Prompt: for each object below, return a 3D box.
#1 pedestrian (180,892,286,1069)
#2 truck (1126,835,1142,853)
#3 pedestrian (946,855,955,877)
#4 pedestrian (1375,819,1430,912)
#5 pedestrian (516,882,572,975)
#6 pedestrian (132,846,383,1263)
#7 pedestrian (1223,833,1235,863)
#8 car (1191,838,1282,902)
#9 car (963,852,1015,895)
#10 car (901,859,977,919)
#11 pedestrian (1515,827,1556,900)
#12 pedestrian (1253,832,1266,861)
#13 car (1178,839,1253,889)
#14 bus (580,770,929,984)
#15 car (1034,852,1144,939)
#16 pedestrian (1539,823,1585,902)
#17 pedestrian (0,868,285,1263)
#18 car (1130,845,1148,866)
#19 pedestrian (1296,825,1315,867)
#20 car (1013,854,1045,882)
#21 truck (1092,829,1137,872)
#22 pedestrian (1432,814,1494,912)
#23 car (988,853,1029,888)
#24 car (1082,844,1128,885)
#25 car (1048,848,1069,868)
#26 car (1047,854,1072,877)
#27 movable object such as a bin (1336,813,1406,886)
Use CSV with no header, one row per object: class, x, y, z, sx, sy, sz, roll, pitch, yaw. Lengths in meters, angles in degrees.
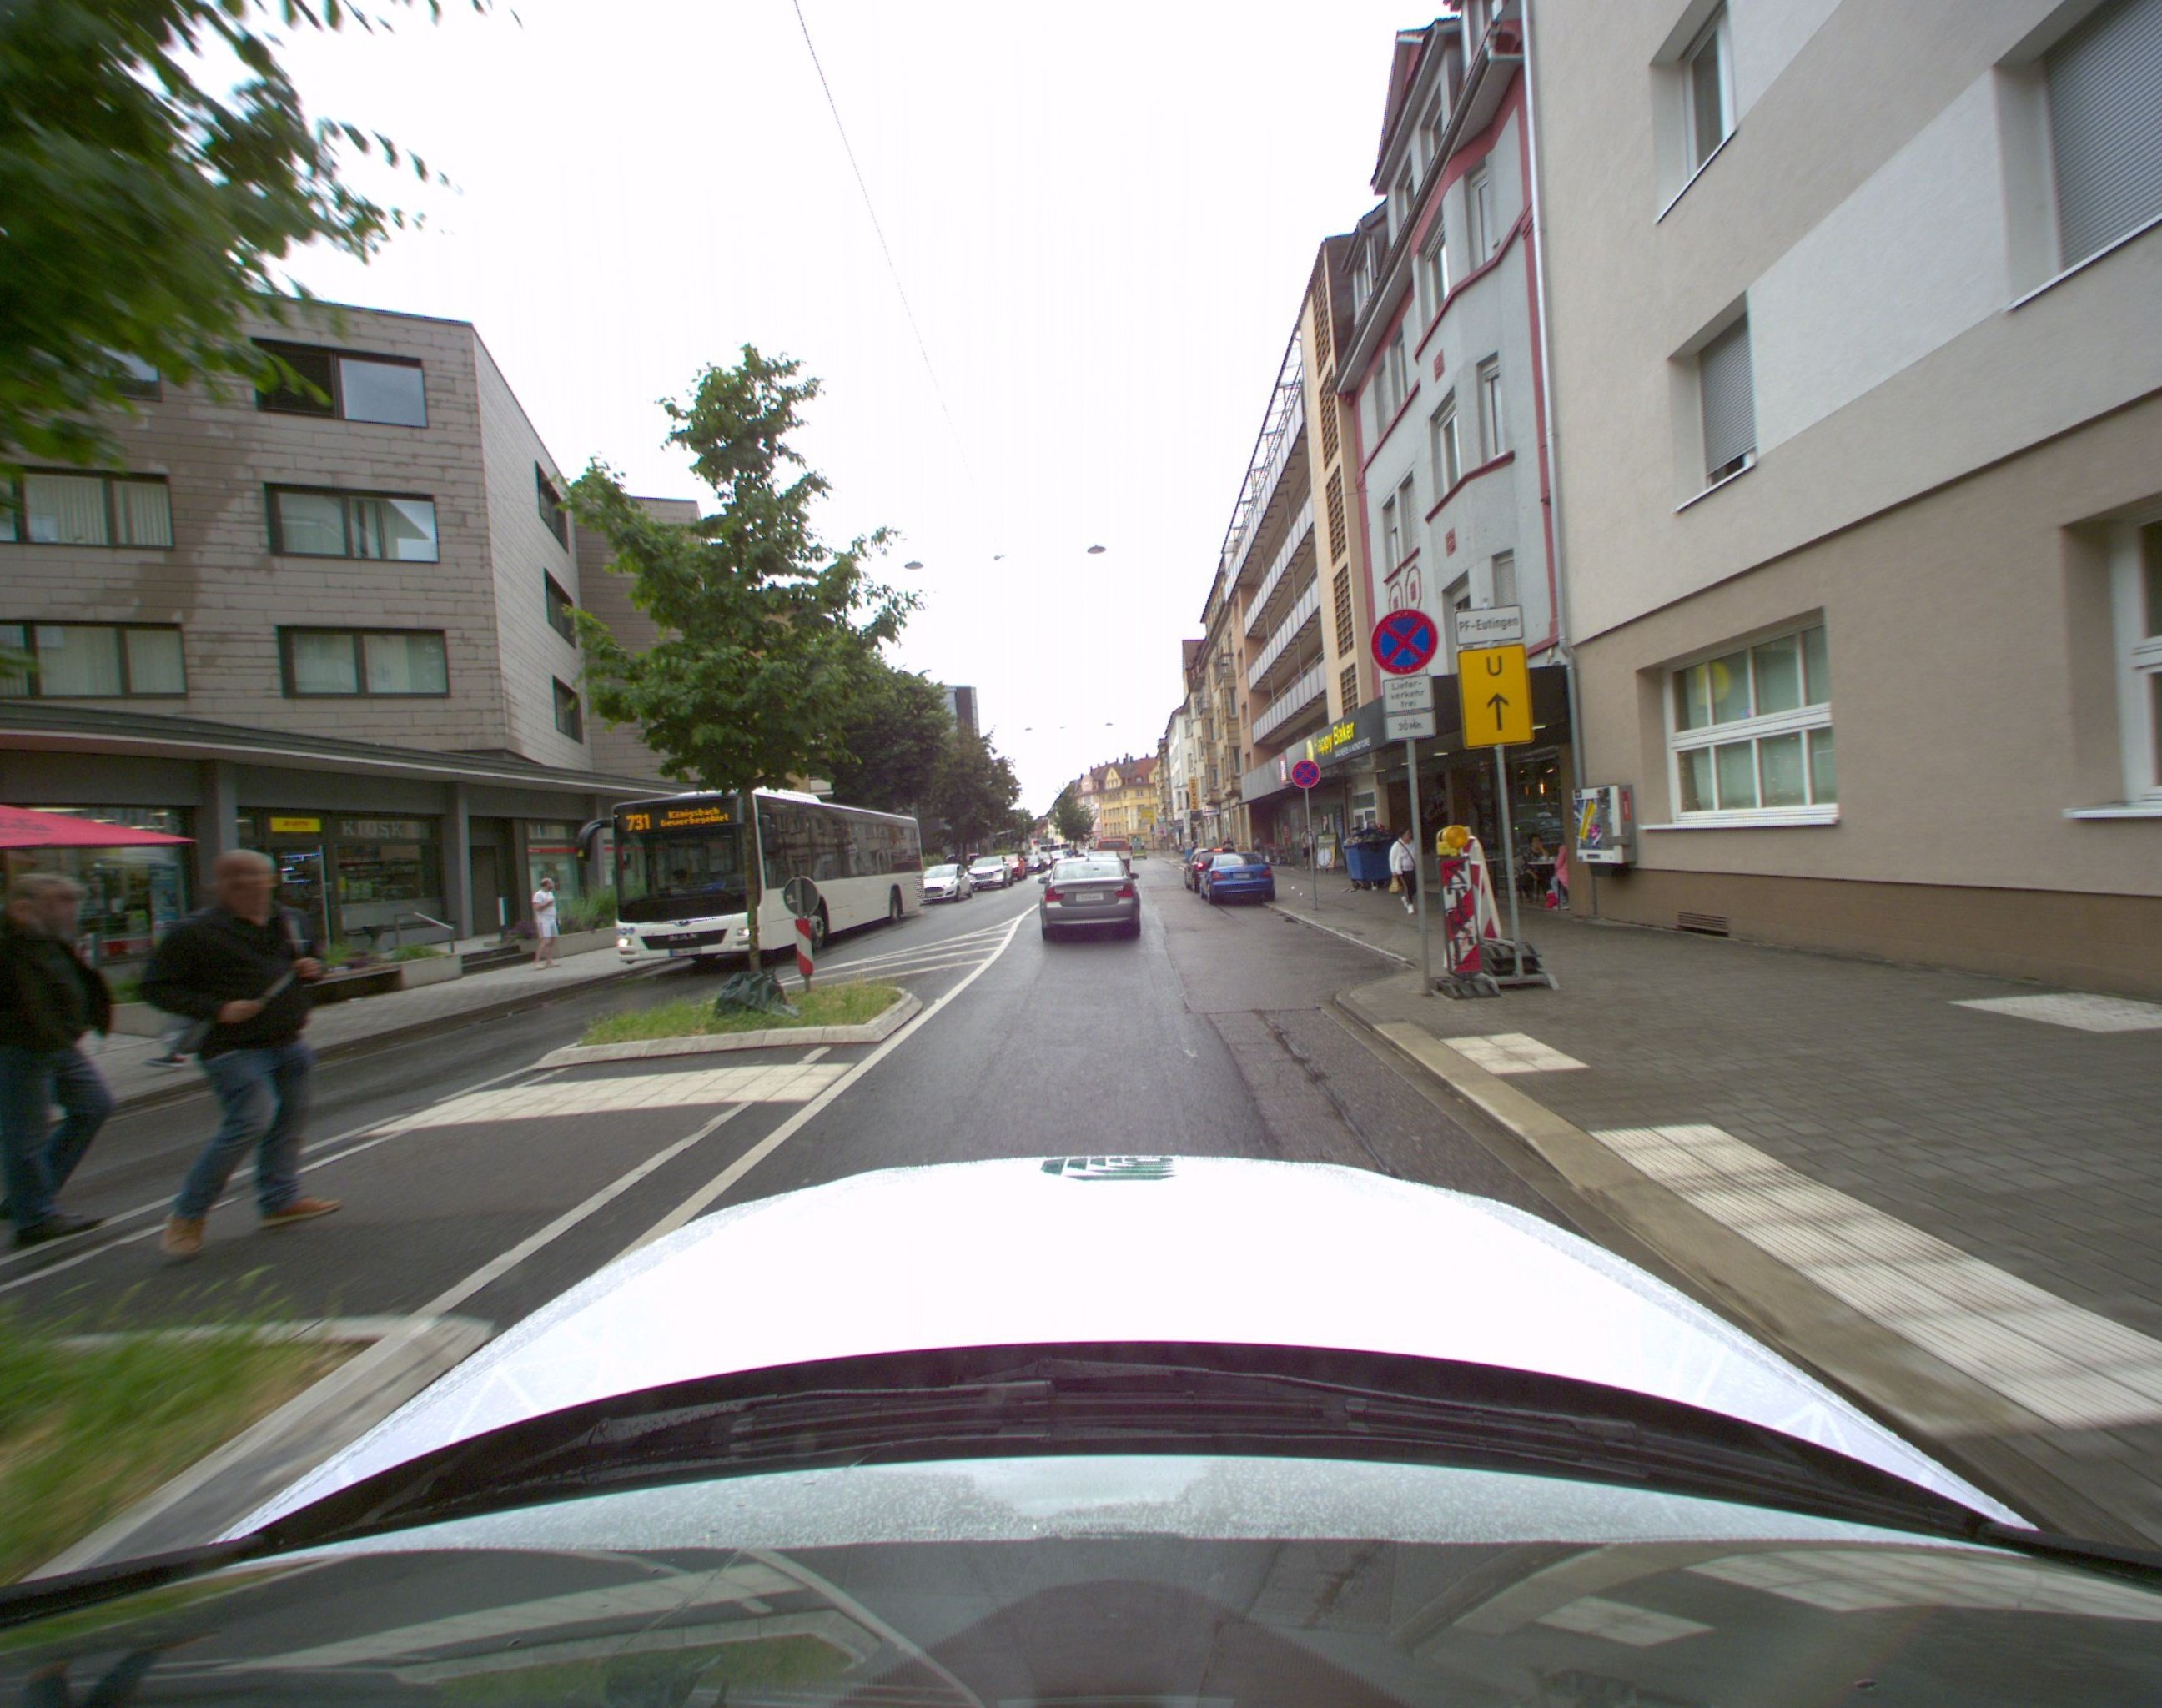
pedestrian,-9.066,1.330,8.726,0.542,1.789,0.465,-1,2,-6
truck,8.247,-1.586,127.331,2.208,2.544,4.782,-1,-2,2
pedestrian,-12.222,1.104,76.010,0.797,2.014,0.534,-1,-2,-11
pedestrian,5.963,0.220,15.146,0.744,1.661,0.839,-2,-2,9
pedestrian,-10.247,1.405,15.558,0.657,1.706,0.660,-1,-2,-7
pedestrian,-3.734,0.848,3.742,0.466,1.709,0.541,-7,0,-18
pedestrian,7.215,-0.289,39.742,0.519,1.421,0.431,-2,-2,12
car,4.138,0.409,22.227,1.802,1.519,4.002,-2,0,2
car,-4.489,0.955,40.262,1.986,2.014,4.001,0,-2,2
car,-5.447,1.342,31.768,1.986,2.013,4.001,-5,-2,2
pedestrian,7.822,0.165,14.025,0.410,1.203,0.357,-6,0,5
pedestrian,9.139,-0.381,41.631,0.560,1.421,0.799,-2,-2,16
car,4.518,0.332,27.958,1.986,1.519,4.002,-2,-1,2
bus,-6.326,0.433,18.950,2.671,3.200,11.961,-5,-1,2
car,0.213,0.680,15.003,1.749,1.362,3.167,-3,0,3
pedestrian,7.660,0.138,12.973,0.410,1.203,0.357,-6,0,5
pedestrian,-4.951,0.989,4.057,1.061,1.731,0.712,-6,0,-7
car,6.114,0.171,86.172,1.699,2.014,4.000,-1,-2,1
pedestrian,9.176,-0.330,33.263,0.611,1.661,0.756,-2,-2,9
car,-3.994,1.121,63.051,1.986,2.014,4.001,-1,-2,2
truck,1.724,-0.140,43.274,2.208,2.117,4.652,0,-1,1
pedestrian,6.692,0.164,14.311,0.745,1.661,0.756,-2,-2,9
car,-4.456,1.052,50.335,1.986,2.014,4.001,-1,-2,2
car,0.892,0.414,30.845,1.596,1.420,3.288,-1,-2,1
car,-2.403,0.431,87.609,1.986,2.014,4.001,-1,-2,2
car,-1.890,1.051,73.041,1.986,2.014,4.001,-1,-2,2
movable object such as a bin,7.376,-0.092,20.799,1.118,1.702,1.434,-5,-2,0
